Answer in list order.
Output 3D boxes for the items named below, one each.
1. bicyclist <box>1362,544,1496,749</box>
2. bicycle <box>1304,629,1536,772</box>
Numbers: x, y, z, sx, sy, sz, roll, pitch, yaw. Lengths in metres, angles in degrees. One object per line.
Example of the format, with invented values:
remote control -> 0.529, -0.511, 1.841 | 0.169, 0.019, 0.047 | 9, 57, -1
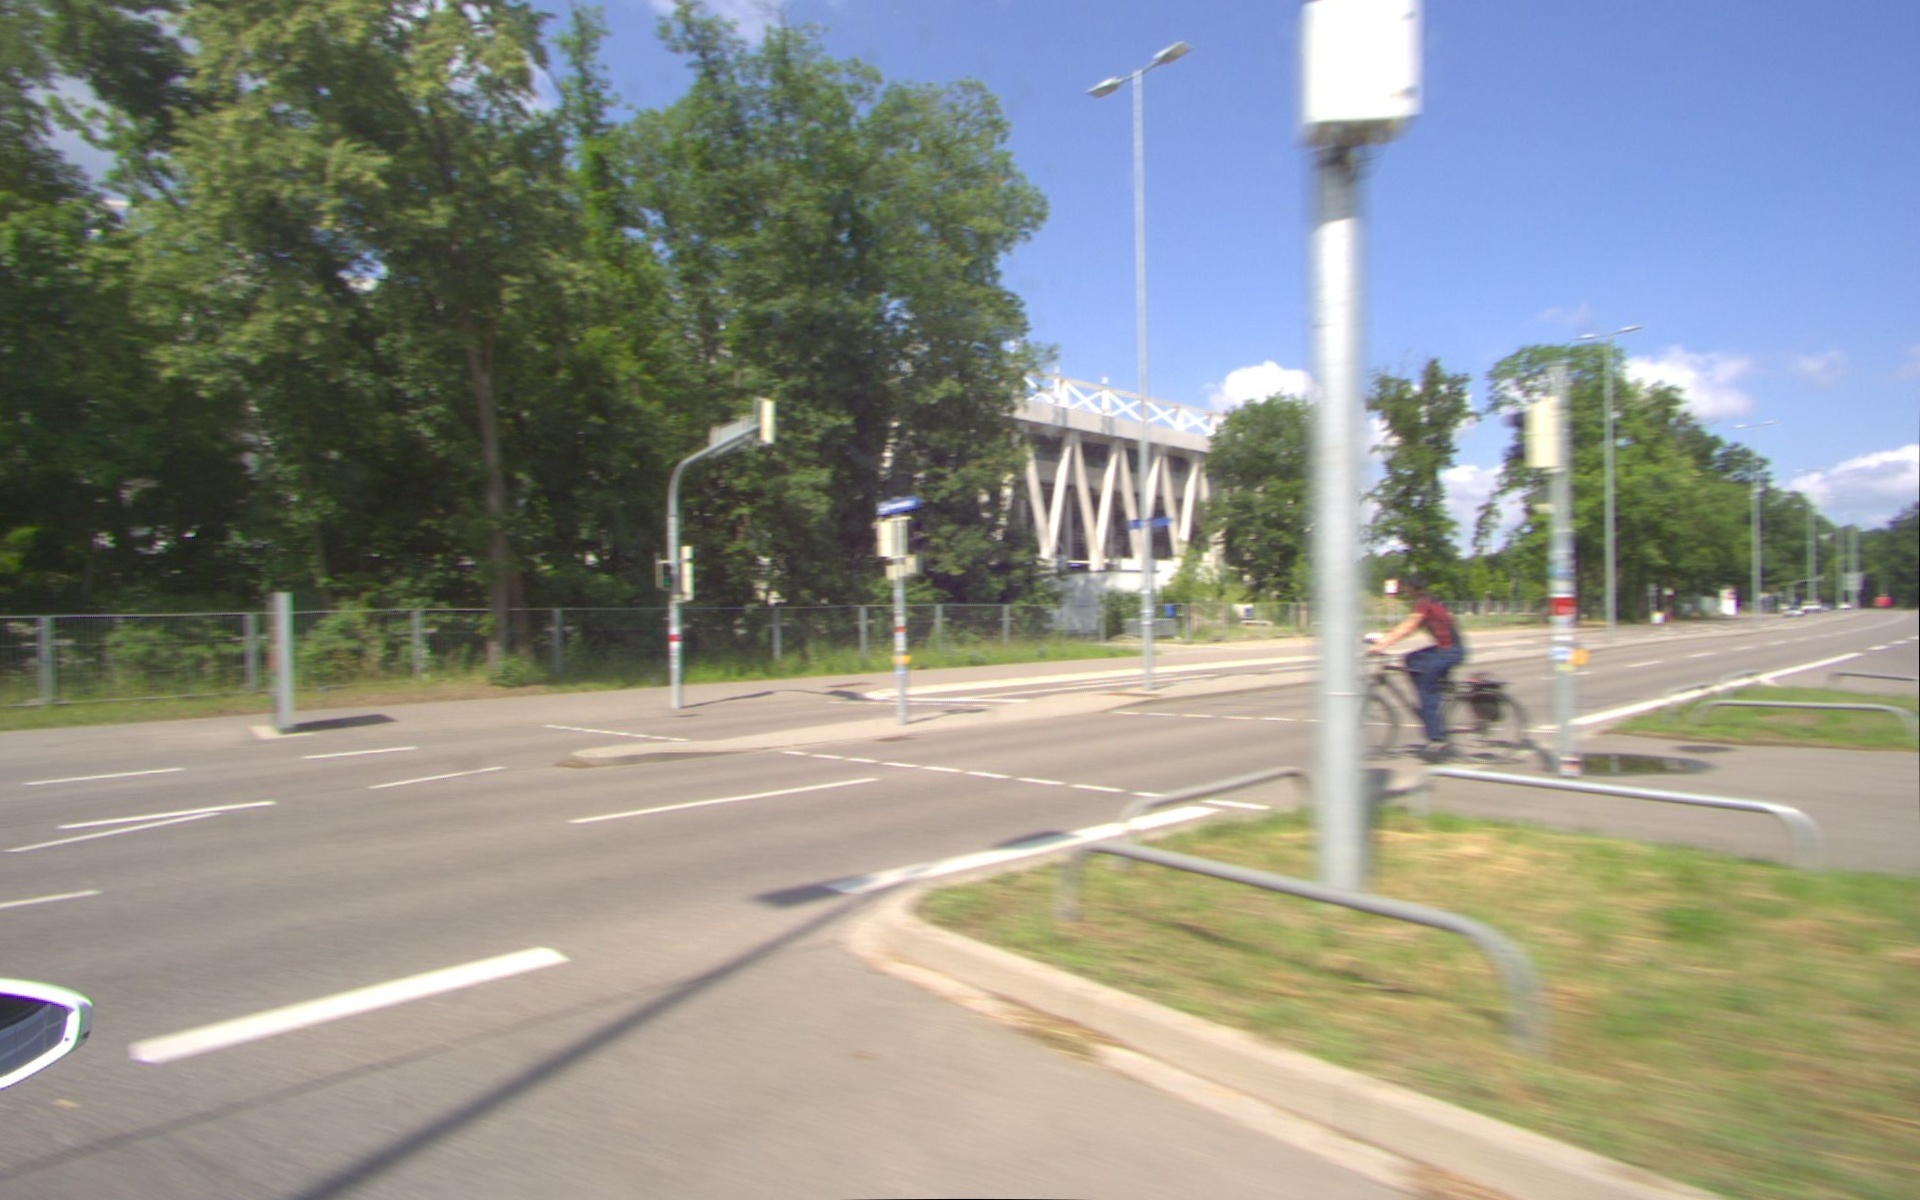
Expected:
bicyclist -> 4.473, 0.440, 9.538 | 0.966, 1.820, 0.882 | -3, -1, 35
bicycle -> 4.391, 0.932, 9.606 | 1.872, 1.221, 0.878 | -3, -1, 34
